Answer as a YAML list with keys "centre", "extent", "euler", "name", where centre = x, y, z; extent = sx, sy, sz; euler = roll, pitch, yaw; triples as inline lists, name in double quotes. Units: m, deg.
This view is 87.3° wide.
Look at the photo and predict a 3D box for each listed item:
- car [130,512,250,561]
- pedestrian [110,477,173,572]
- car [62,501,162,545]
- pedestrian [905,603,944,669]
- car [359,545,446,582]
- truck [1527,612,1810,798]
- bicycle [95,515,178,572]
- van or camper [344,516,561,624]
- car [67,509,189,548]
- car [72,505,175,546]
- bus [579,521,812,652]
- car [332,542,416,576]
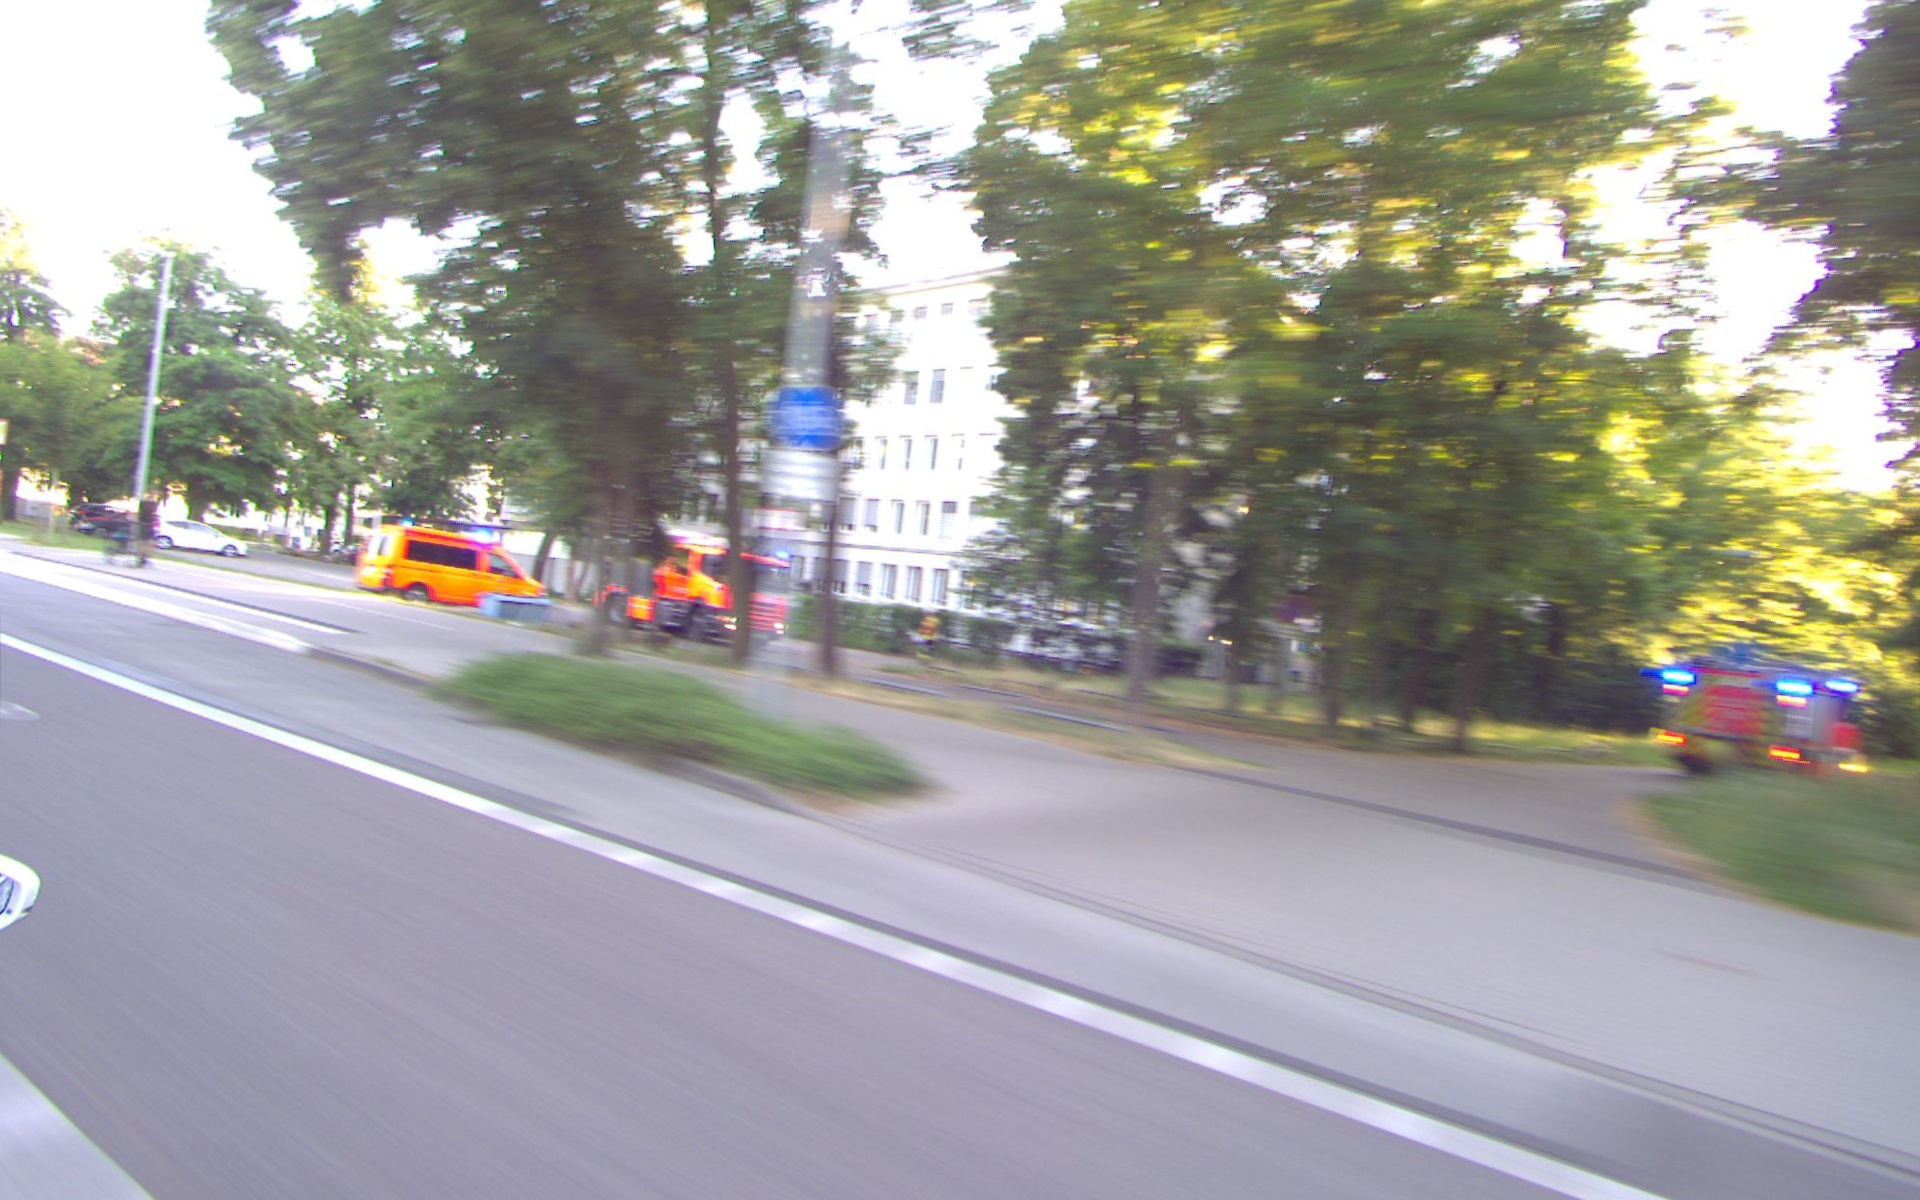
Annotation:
- centre: [-35.801, -2.955, 46.855]
  extent: [1.883, 1.555, 3.989]
  euler: [6, -2, 38]
  name: "car"
- centre: [-18.796, -1.728, 23.106]
  extent: [0.684, 2.037, 0.724]
  euler: [7, -1, 32]
  name: "pedestrian"
- centre: [-47.801, -4.333, 56.759]
  extent: [1.809, 1.713, 3.898]
  euler: [6, -2, 39]
  name: "car"
- centre: [-1.164, 1.188, 33.268]
  extent: [0.770, 2.037, 0.762]
  euler: [7, -1, 32]
  name: "pedestrian"
- centre: [-32.378, -2.115, 58.492]
  extent: [1.808, 1.492, 3.984]
  euler: [6, -3, 41]
  name: "car"
- centre: [16.024, 2.437, 22.417]
  extent: [8.599, 3.249, 2.731]
  euler: [8, -1, -39]
  name: "truck"
- centre: [-19.094, -1.312, 23.315]
  extent: [1.936, 1.111, 0.831]
  euler: [7, 0, 31]
  name: "bicycle"
- centre: [-14.250, -0.789, 28.450]
  extent: [2.264, 2.270, 4.808]
  euler: [6, -2, 43]
  name: "van or camper"
- centre: [-43.378, -3.718, 52.528]
  extent: [1.872, 1.466, 4.567]
  euler: [4, -1, 37]
  name: "car"
- centre: [-45.632, -4.057, 54.930]
  extent: [1.760, 1.580, 3.983]
  euler: [7, -1, 41]
  name: "car"
- centre: [-8.519, -0.534, 31.764]
  extent: [7.855, 3.233, 2.985]
  euler: [6, -2, 42]
  name: "bus"
- centre: [-36.136, -2.515, 62.108]
  extent: [1.875, 1.458, 3.987]
  euler: [6, -2, 39]
  name: "car"
